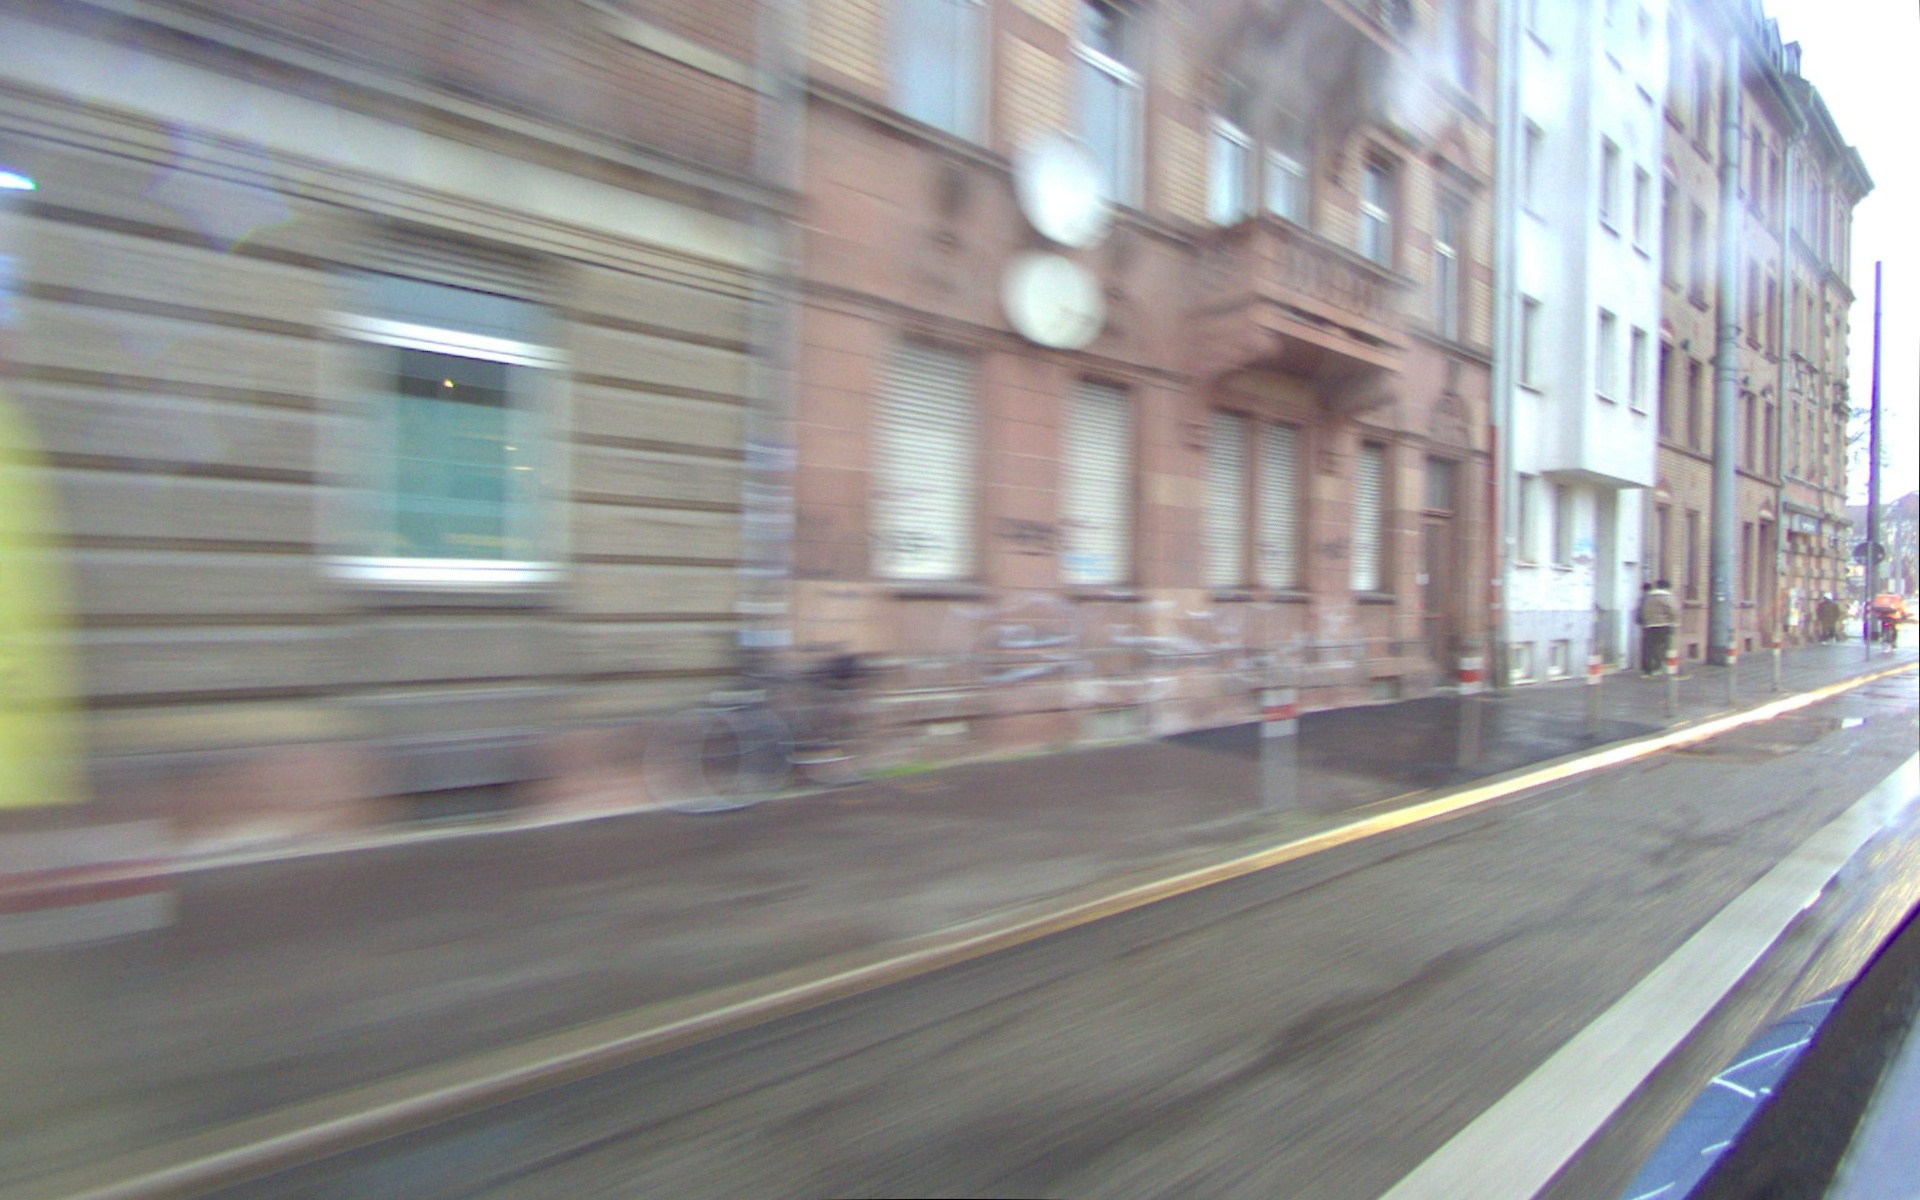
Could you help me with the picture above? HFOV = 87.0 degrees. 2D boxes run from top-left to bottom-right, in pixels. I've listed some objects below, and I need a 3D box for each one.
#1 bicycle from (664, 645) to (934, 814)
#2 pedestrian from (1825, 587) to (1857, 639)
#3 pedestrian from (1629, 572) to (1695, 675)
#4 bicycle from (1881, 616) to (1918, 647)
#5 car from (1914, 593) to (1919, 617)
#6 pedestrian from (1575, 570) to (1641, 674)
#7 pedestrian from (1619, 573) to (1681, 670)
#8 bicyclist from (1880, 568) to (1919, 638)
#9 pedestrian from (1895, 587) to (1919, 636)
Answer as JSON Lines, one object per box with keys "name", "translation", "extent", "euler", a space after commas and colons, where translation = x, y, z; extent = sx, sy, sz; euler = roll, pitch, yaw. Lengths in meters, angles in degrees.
{"name": "bicycle", "translation": [-1.013, 0.802, 6.743], "extent": [1.834, 0.922, 0.398], "euler": [0, 1, -41]}
{"name": "pedestrian", "translation": [26.838, 0.384, 30.836], "extent": [0.698, 1.567, 0.633], "euler": [0, 0, -42]}
{"name": "pedestrian", "translation": [12.428, 0.394, 17.912], "extent": [0.661, 1.766, 0.777], "euler": [0, 1, -40]}
{"name": "bicycle", "translation": [26.409, 0.875, 28.433], "extent": [1.829, 0.770, 0.609], "euler": [-1, 2, -42]}
{"name": "car", "translation": [75.159, 0.399, 77.628], "extent": [4.778, 1.861, 2.000], "euler": [0, 1, -35]}
{"name": "pedestrian", "translation": [11.399, 0.364, 17.813], "extent": [0.661, 1.766, 0.777], "euler": [0, 1, -40]}
{"name": "pedestrian", "translation": [12.972, 0.382, 19.018], "extent": [0.661, 1.766, 0.777], "euler": [0, 1, -40]}
{"name": "bicyclist", "translation": [26.435, 0.070, 28.426], "extent": [1.093, 1.903, 0.746], "euler": [0, 1, -43]}
{"name": "pedestrian", "translation": [36.921, 0.434, 39.335], "extent": [0.697, 1.848, 0.753], "euler": [0, 0, -38]}
